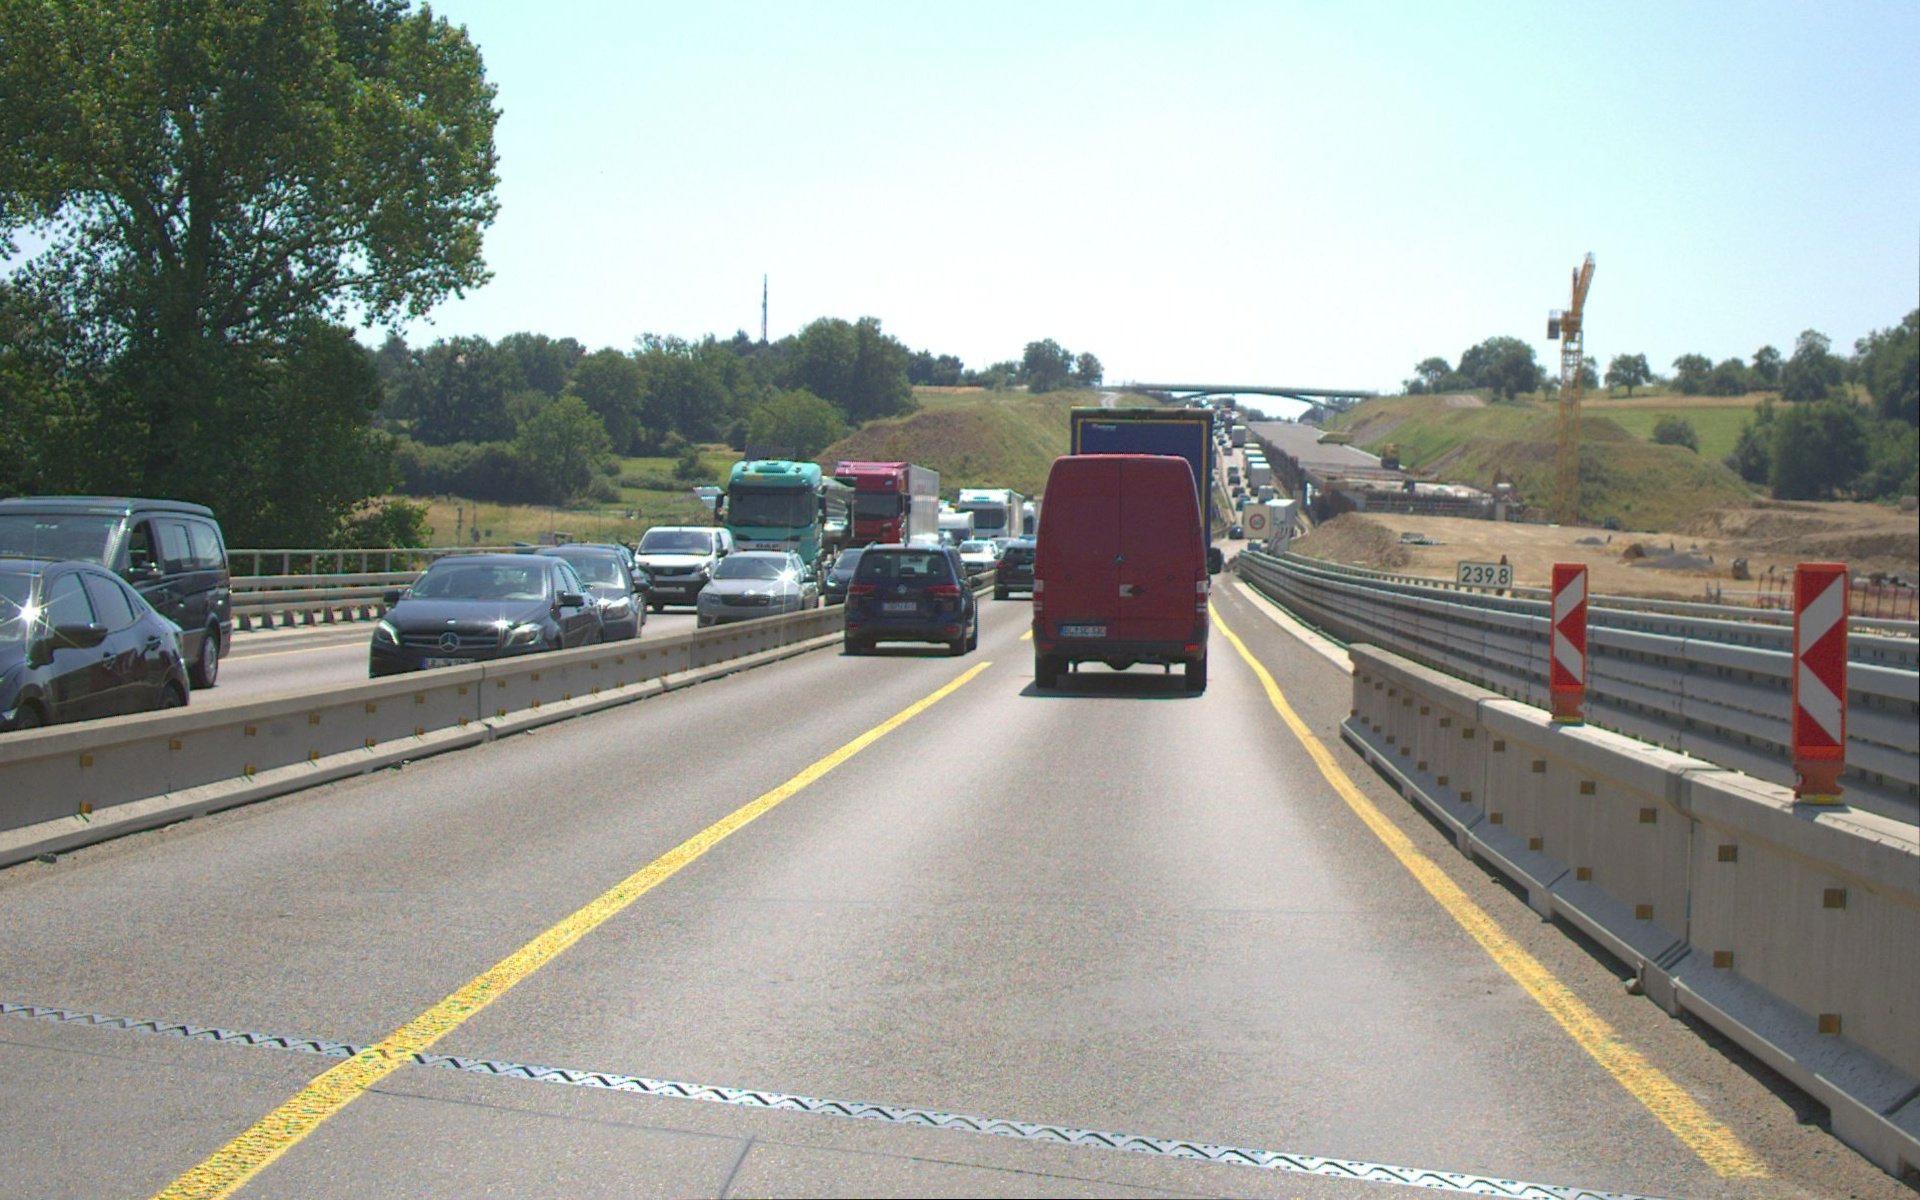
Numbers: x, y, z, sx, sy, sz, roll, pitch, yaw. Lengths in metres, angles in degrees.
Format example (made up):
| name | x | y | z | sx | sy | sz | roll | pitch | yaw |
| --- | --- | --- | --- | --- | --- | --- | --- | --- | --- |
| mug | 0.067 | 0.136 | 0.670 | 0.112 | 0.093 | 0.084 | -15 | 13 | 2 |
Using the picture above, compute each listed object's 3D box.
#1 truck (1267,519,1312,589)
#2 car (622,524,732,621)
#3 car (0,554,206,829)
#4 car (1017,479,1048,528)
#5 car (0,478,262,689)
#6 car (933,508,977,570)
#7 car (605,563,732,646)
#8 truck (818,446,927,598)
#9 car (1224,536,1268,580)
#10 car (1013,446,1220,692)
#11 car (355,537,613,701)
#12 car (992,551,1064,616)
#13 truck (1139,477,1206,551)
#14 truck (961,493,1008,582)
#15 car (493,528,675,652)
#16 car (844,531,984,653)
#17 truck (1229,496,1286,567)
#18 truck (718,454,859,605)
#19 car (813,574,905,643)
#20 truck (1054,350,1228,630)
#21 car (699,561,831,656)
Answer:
| name | x | y | z | sx | sy | sz | roll | pitch | yaw |
| --- | --- | --- | --- | --- | --- | --- | --- | --- | --- |
| truck | 19.799 | -2.720 | 206.656 | 2.291 | 3.726 | 6.480 | 2 | -3 | 3 |
| car | -6.188 | -0.611 | 75.465 | 1.993 | 2.007 | 4.000 | 2 | 1 | 1 |
| car | -5.659 | 0.439 | 19.250 | 1.669 | 1.360 | 4.440 | 2 | 1 | 3 |
| car | 4.215 | -5.595 | 199.755 | 1.618 | 2.593 | 3.889 | 2 | 0 | 3 |
| car | -8.617 | -0.200 | 34.799 | 1.820 | 1.936 | 5.064 | 2 | 1 | 2 |
| car | -0.213 | -2.655 | 149.955 | 1.618 | 2.593 | 3.889 | 2 | 1 | 3 |
| car | -5.716 | 0.062 | 68.060 | 1.820 | 1.491 | 5.172 | 2 | 1 | 2 |
| truck | -2.971 | -2.677 | 120.393 | 2.809 | 4.922 | 12.133 | 2 | 1 | 2 |
| car | 11.727 | -1.726 | 141.135 | 1.618 | 1.694 | 3.889 | 2 | 1 | 3 |
| car | 1.842 | -0.382 | 40.500 | 2.150 | 2.602 | 5.438 | 3 | 1 | 3 |
| car | -4.746 | 0.152 | 34.854 | 1.757 | 1.491 | 4.440 | 2 | 1 | 3 |
| car | 1.890 | -0.467 | 94.772 | 1.820 | 1.691 | 4.133 | 2 | 1 | 2 |
| truck | 10.688 | -4.306 | 173.686 | 3.184 | 2.967 | 8.897 | 2 | -3 | 3 |
| truck | 1.241 | -3.119 | 173.166 | 1.994 | 3.992 | 6.481 | 2 | -3 | 3 |
| car | -4.902 | -0.155 | 45.298 | 1.725 | 1.491 | 4.133 | 2 | 1 | 2 |
| car | -0.649 | -0.159 | 51.696 | 1.734 | 1.629 | 4.389 | 2 | 2 | 3 |
| truck | 13.896 | -3.186 | 160.936 | 2.291 | 3.185 | 6.482 | 1 | 1 | 2 |
| truck | -4.790 | -1.981 | 98.385 | 2.809 | 3.950 | 12.133 | 2 | 1 | 2 |
| car | -2.363 | 0.176 | 81.374 | 1.820 | 1.491 | 4.133 | 2 | 1 | 2 |
| truck | 3.340 | -2.015 | 64.904 | 2.945 | 4.929 | 6.741 | 2 | 1 | 2 |
| car | -3.304 | 0.111 | 58.934 | 1.820 | 1.491 | 4.133 | 2 | 1 | 2 |
